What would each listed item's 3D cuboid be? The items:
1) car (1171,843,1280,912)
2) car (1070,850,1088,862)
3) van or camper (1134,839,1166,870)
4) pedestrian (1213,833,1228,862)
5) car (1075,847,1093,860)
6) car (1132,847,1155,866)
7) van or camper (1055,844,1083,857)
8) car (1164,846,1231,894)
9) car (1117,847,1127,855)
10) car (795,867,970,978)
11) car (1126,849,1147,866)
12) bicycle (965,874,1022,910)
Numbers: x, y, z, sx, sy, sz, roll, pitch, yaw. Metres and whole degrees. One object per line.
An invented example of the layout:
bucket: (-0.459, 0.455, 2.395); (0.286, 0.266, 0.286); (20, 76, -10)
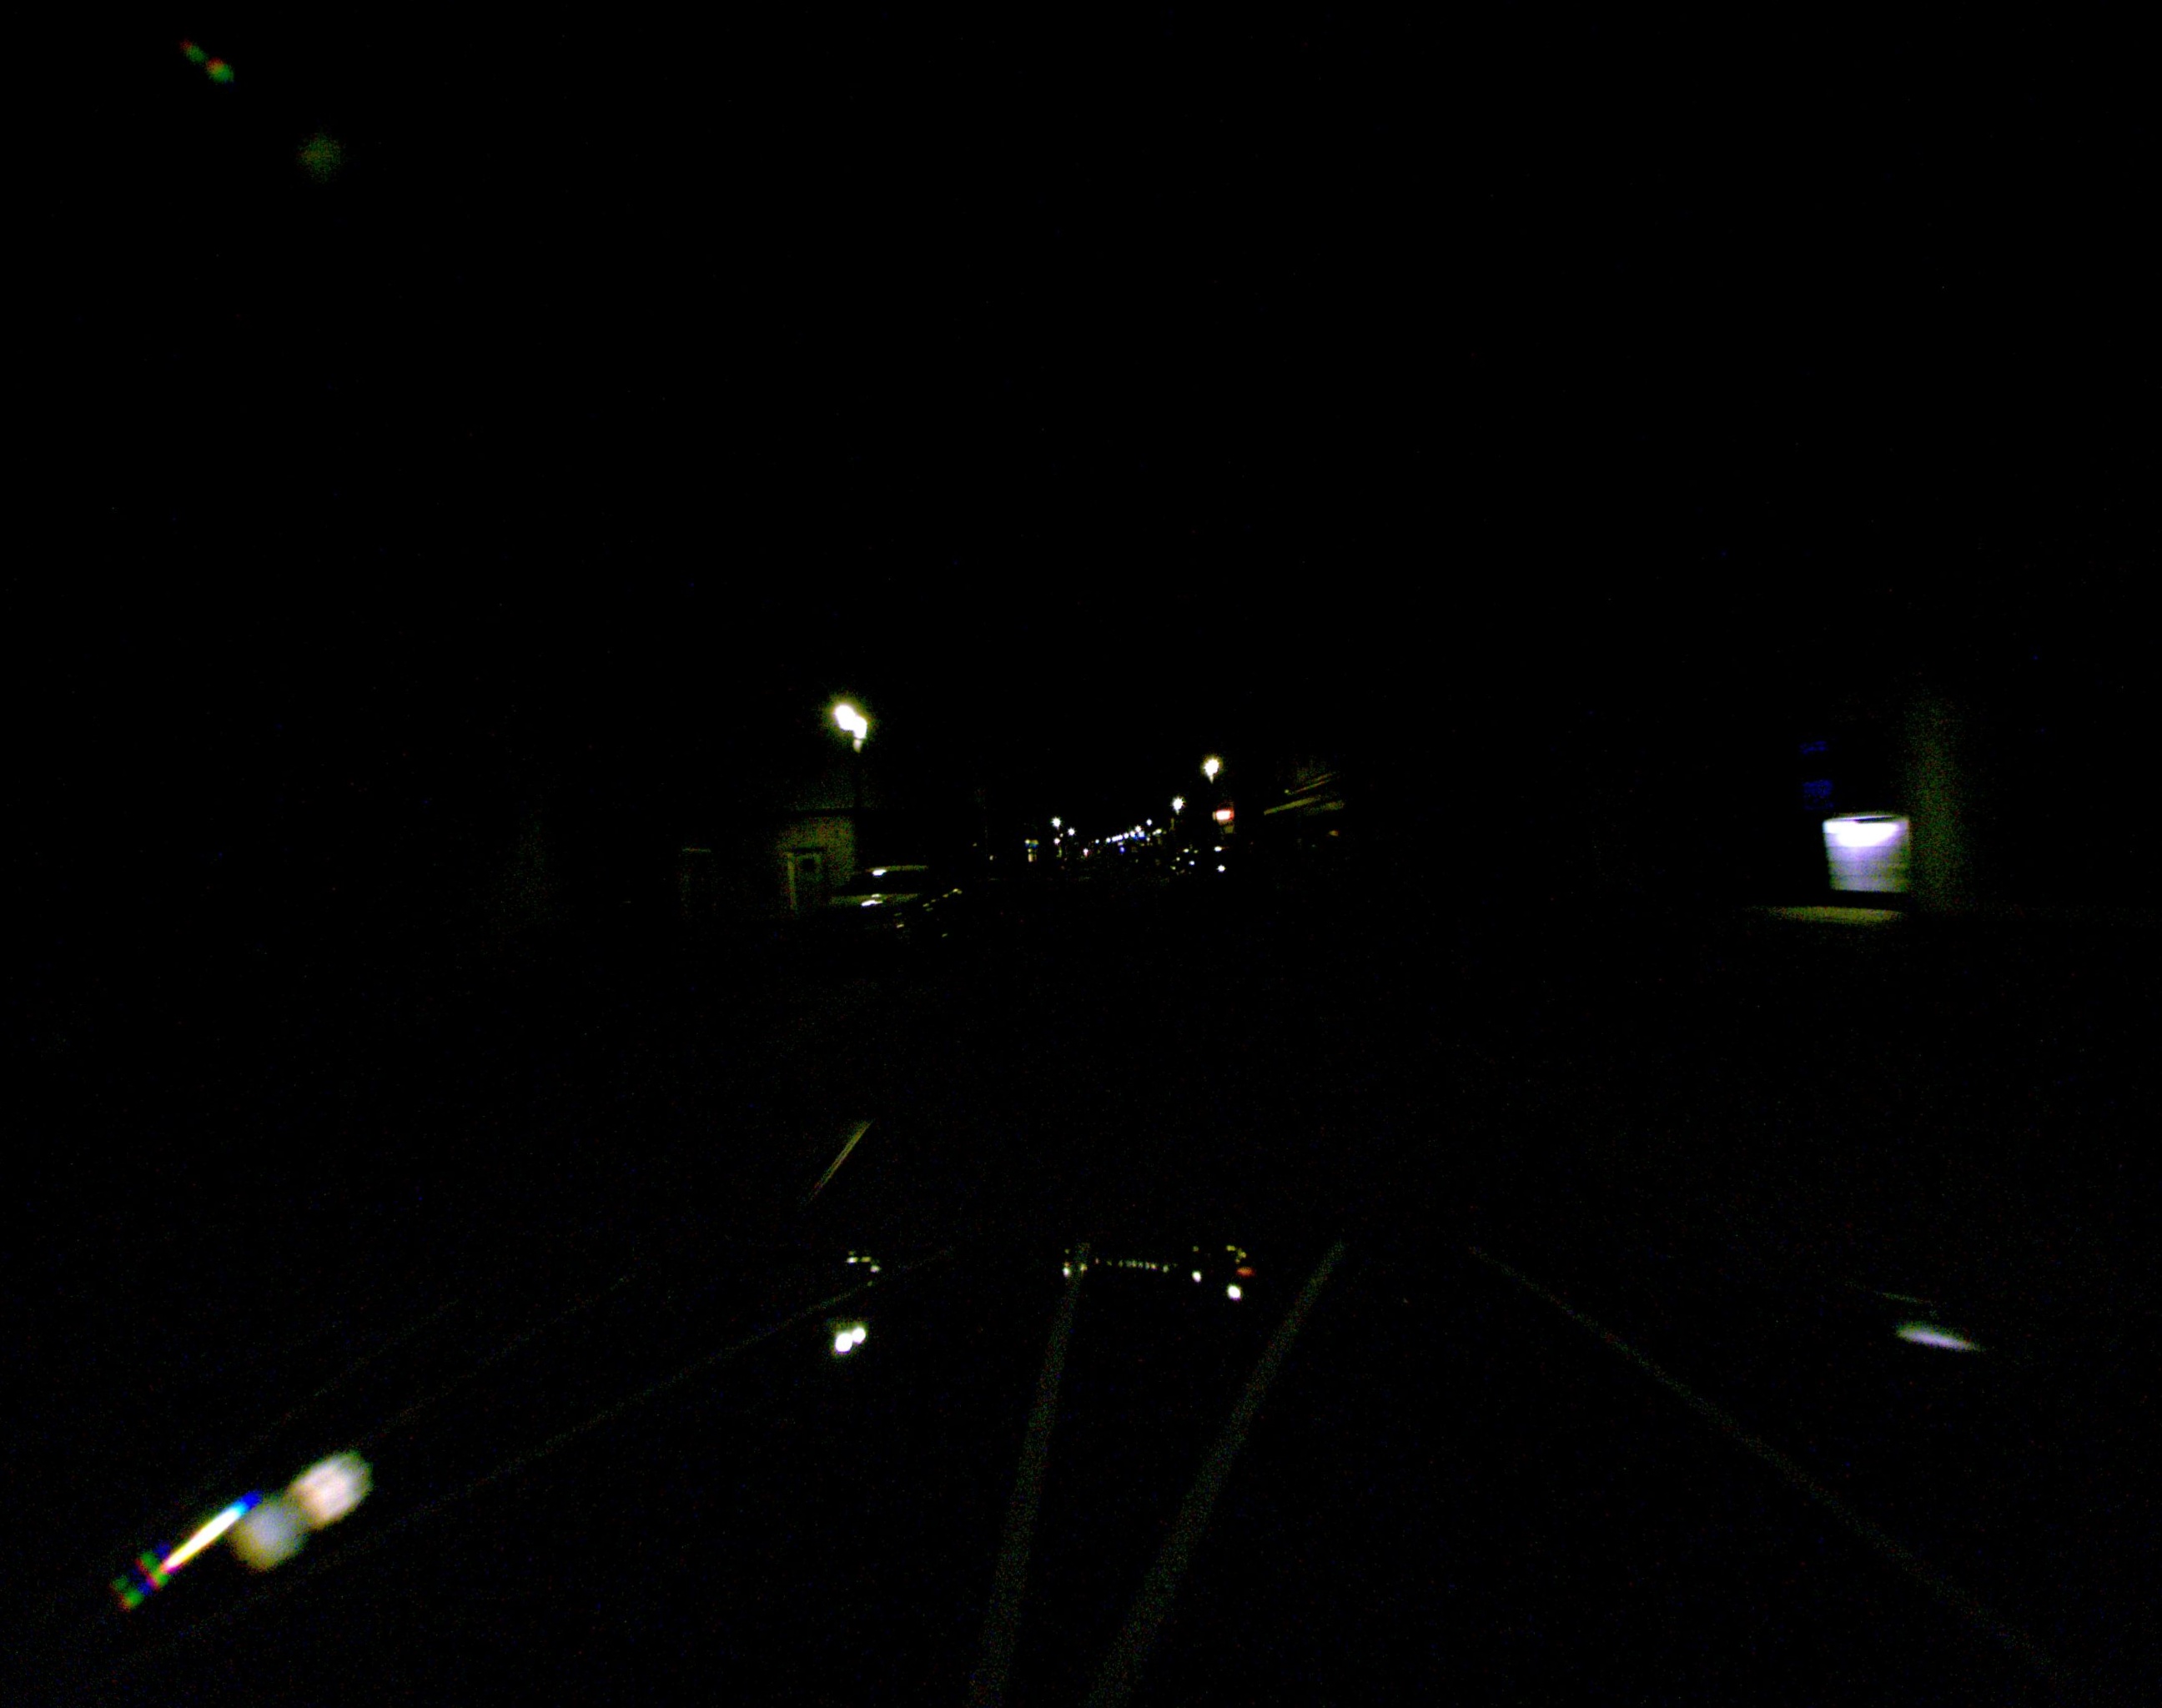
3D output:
car: (3.894, 0.569, 21.408); (2.024, 1.479, 5.007); (-7, 0, 1)
car: (-0.204, 0.214, 88.426); (1.664, 1.369, 4.104); (-2, 1, 5)
van or camper: (4.879, 0.022, 53.229); (1.849, 1.930, 5.155); (-5, 0, 7)
pedestrian: (8.571, -0.406, 46.717); (0.622, 1.735, 1.023); (-5, 1, 2)
car: (0.365, -0.104, 93.003); (1.757, 1.455, 4.467); (-2, 1, 5)
car: (5.287, 0.198, 64.664); (1.721, 1.404, 4.385); (-6, 0, 2)
van or camper: (-2.727, -0.716, 174.915); (6.059, 2.518, 2.158); (-4, 1, -29)
car: (4.052, 0.520, 27.040); (1.733, 1.468, 3.846); (-5, 0, 1)
car: (8.997, -0.656, 166.805); (1.655, 1.417, 4.014); (-7, 0, 0)
car: (-3.255, 1.055, 13.342); (1.793, 1.483, 4.059); (-3, 0, 3)
car: (5.831, 0.361, 79.620); (1.802, 1.469, 4.321); (-6, 1, 1)
bicycle: (-2.880, 1.253, 25.096); (1.759, 1.056, 0.346); (-4, 1, -1)
